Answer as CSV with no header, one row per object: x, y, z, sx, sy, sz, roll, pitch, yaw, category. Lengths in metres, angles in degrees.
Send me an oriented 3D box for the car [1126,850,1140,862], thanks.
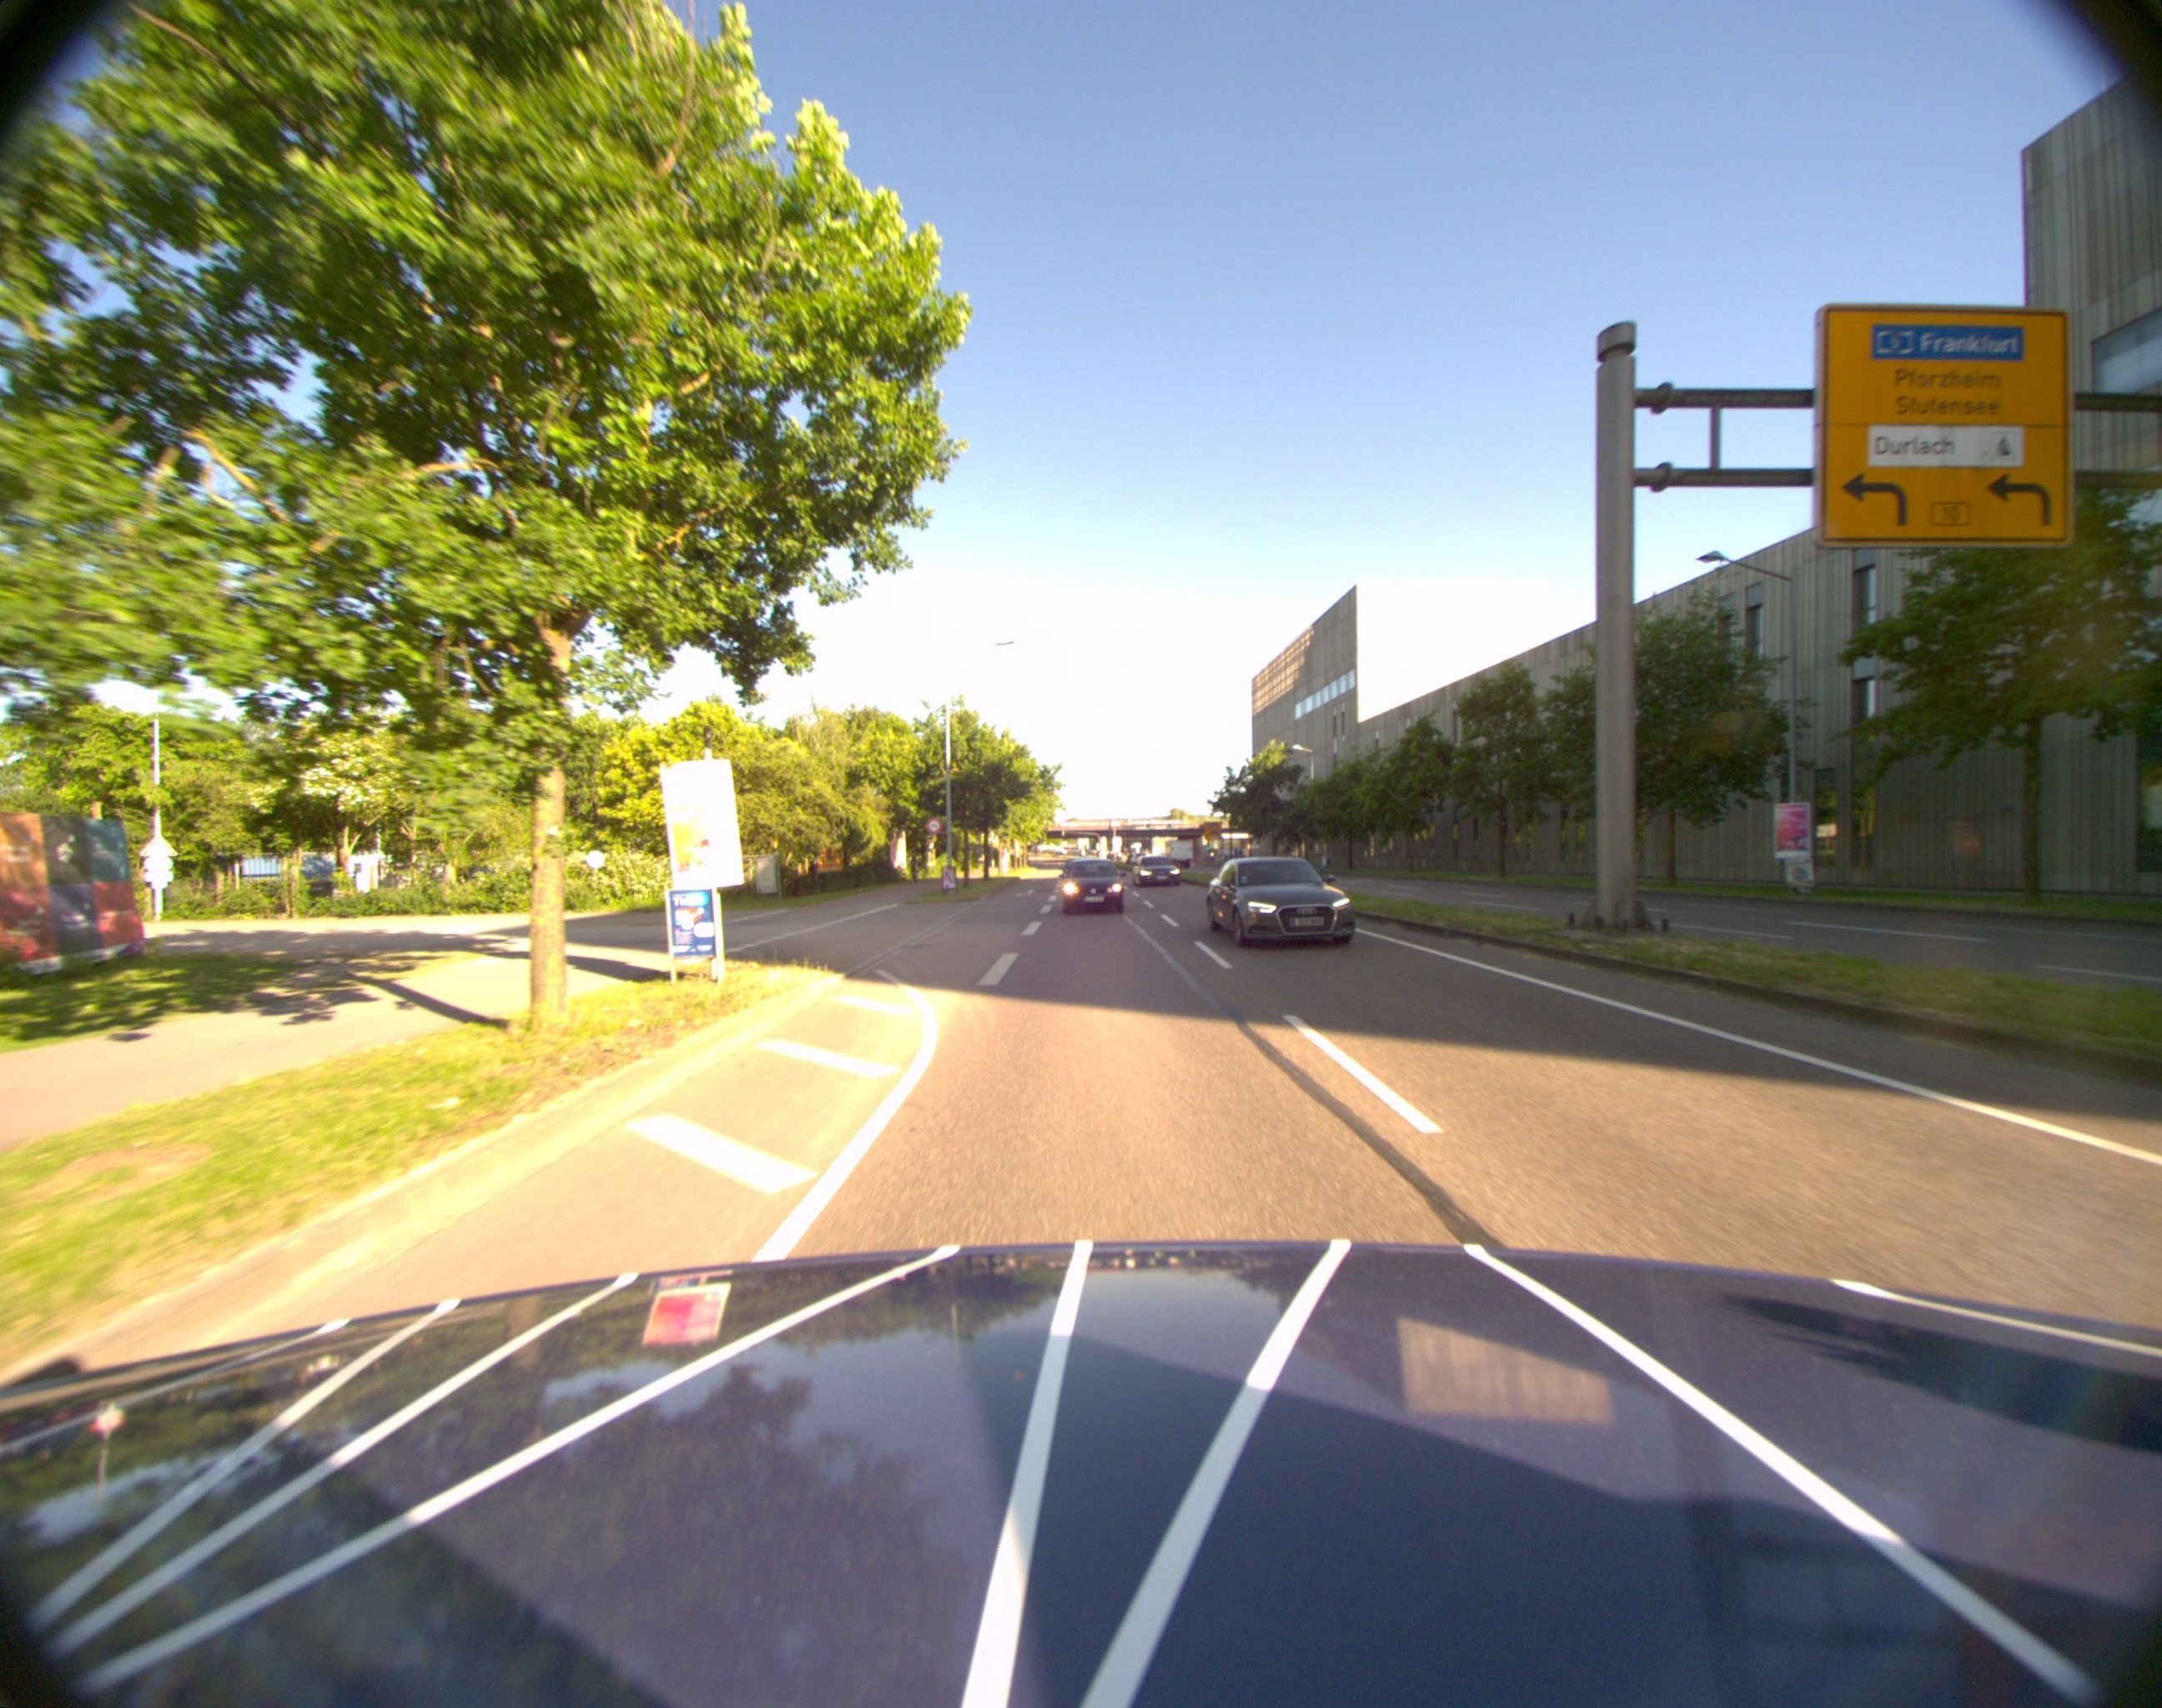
6.949,0.299,102.031,1.606,1.571,3.212,0,1,-1,car

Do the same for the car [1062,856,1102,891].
-0.008,0.840,35.098,1.702,1.478,3.945,-1,0,-2,car

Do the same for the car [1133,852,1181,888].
3.526,0.707,35.919,1.702,1.528,3.945,-2,1,-2,car

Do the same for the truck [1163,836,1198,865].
10.634,-0.407,81.741,2.693,2.943,7.113,1,0,-1,truck

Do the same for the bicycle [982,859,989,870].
-9.434,1.039,75.100,0.573,0.986,2.046,-1,0,-2,bicycle

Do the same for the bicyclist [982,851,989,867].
-9.413,0.513,74.986,0.566,1.600,0.865,-1,1,-2,bicyclist

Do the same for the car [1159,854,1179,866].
10.464,0.714,90.568,1.840,1.415,3.999,0,0,-2,car

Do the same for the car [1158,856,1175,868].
10.823,1.005,96.306,1.624,1.461,3.639,1,0,-1,car

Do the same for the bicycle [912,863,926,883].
-9.281,1.059,43.502,0.517,1.066,1.935,-1,1,-4,bicycle

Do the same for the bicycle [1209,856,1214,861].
22.570,0.804,131.030,0.513,0.885,1.754,-1,0,-2,bicycle

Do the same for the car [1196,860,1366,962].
3.247,0.840,13.244,1.702,1.396,4.364,-1,0,-2,car

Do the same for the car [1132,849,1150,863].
7.415,0.281,94.253,1.829,1.672,4.657,1,0,-2,car

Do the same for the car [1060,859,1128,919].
0.271,0.914,21.608,1.702,1.474,4.051,-2,0,-2,car

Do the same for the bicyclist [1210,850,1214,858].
22.559,0.011,131.014,0.509,1.434,0.753,-1,1,-2,bicyclist

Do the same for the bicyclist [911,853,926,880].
-9.255,0.680,43.301,0.687,1.513,1.035,-1,1,-5,bicyclist
